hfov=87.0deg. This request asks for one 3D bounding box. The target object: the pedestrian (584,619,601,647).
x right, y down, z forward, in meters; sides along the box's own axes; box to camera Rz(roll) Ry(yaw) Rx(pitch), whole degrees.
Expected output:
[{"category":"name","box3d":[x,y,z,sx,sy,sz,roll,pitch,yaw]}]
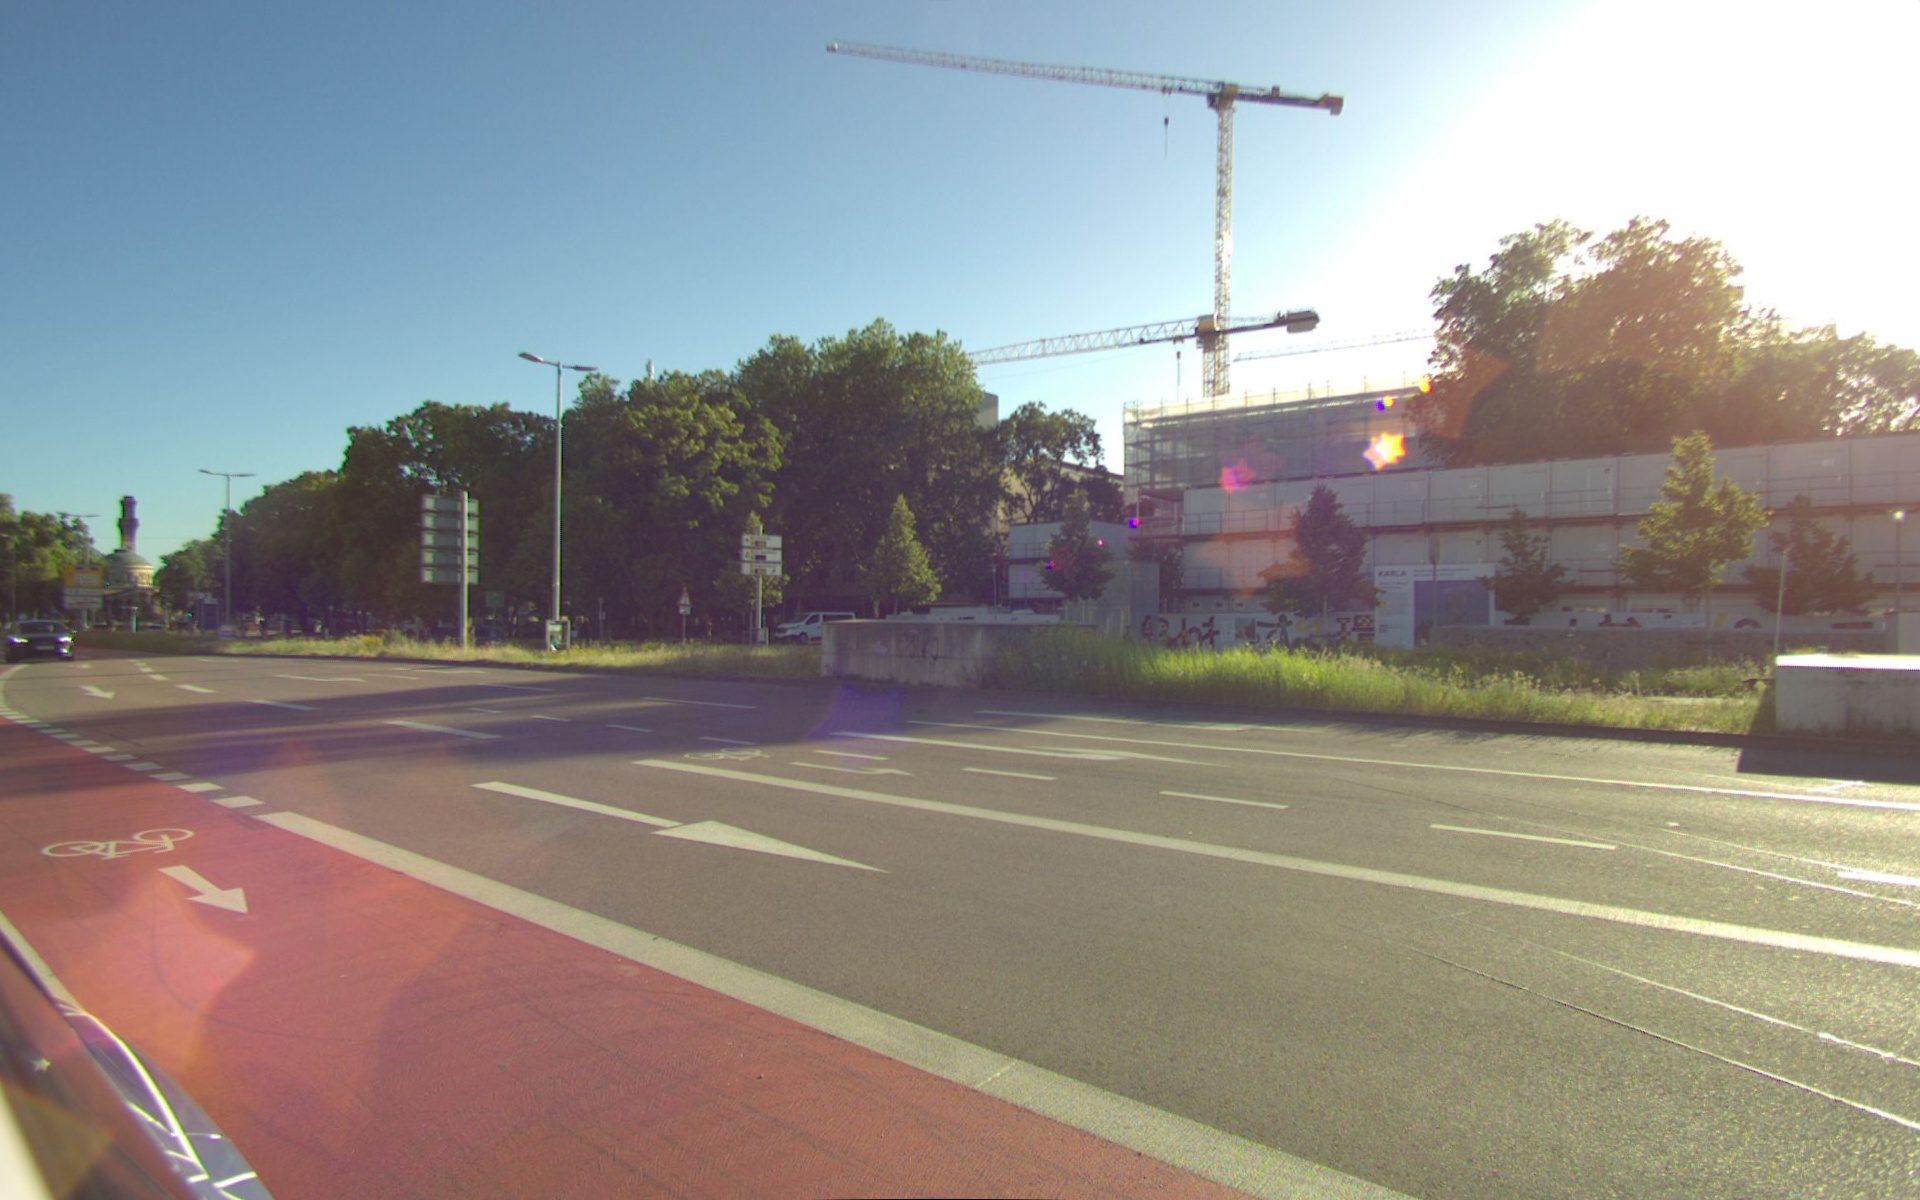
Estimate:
[{"category":"pedestrian","box3d":[-23.164,2.088,63.840,0.762,1.738,0.698,-1,-2,41]}]

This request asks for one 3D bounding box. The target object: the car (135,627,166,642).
[{"category":"car","box3d":[-85.059,3.593,106.324,4.000,1.519,1.972,-1,-2,43]}]

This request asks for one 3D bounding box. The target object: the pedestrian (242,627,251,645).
[{"category":"pedestrian","box3d":[-73.246,3.684,103.932,0.618,1.862,0.926,1,-2,-42]}]

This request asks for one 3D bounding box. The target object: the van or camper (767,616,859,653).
[{"category":"van or camper","box3d":[-8.937,2.064,61.941,1.948,2.029,5.576,-1,0,42]}]

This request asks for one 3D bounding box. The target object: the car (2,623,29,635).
[{"category":"car","box3d":[-113.140,3.441,121.240,3.995,1.409,1.849,-1,-2,39]}]

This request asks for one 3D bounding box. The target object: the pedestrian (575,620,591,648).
[{"category":"pedestrian","box3d":[-23.625,2.095,63.383,0.762,1.738,0.656,-1,-2,41]}]

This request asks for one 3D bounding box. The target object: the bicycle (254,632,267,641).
[{"category":"bicycle","box3d":[-68.310,3.549,98.873,1.744,0.849,0.603,-1,-2,40]}]

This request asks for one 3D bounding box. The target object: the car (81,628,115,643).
[{"category":"car","box3d":[-83.586,3.463,98.078,3.996,1.409,1.849,-1,-2,40]}]

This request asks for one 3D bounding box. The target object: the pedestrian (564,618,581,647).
[{"category":"pedestrian","box3d":[-24.070,2.013,62.790,0.762,1.738,0.698,-1,-2,41]}]

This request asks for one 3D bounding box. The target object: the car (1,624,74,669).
[{"category":"car","box3d":[-36.498,1.783,40.009,4.618,1.656,1.910,-1,-2,45]}]
